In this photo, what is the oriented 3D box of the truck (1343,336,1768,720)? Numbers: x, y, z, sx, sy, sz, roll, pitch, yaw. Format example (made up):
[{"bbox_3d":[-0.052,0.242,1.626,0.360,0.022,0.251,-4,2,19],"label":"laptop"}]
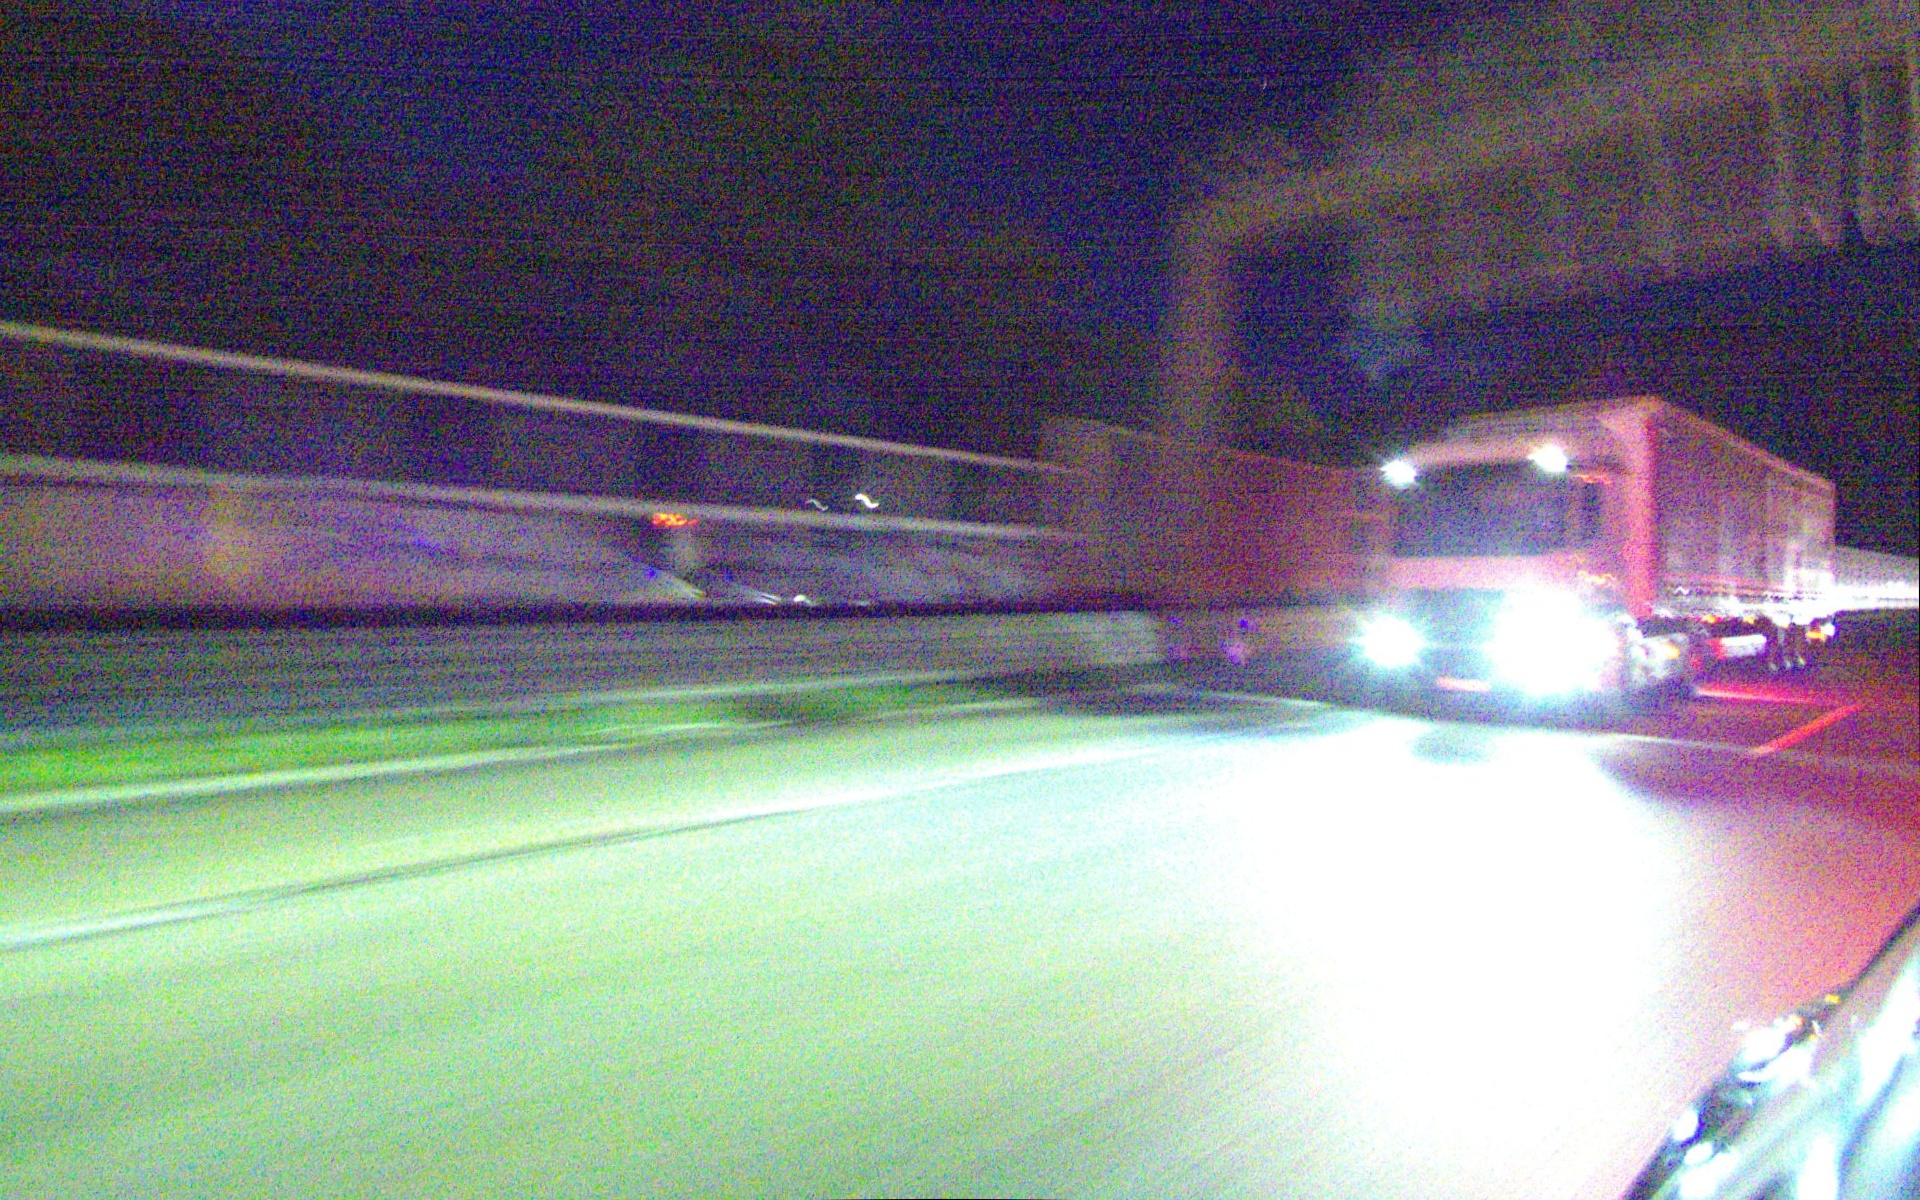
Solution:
[{"bbox_3d":[8.752,-0.863,14.416,7.379,4.126,2.868,0,3,-41],"label":"truck"}]

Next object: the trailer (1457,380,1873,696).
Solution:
[{"bbox_3d":[13.518,-0.898,18.509,12.971,4.116,2.861,0,3,-40],"label":"trailer"}]
